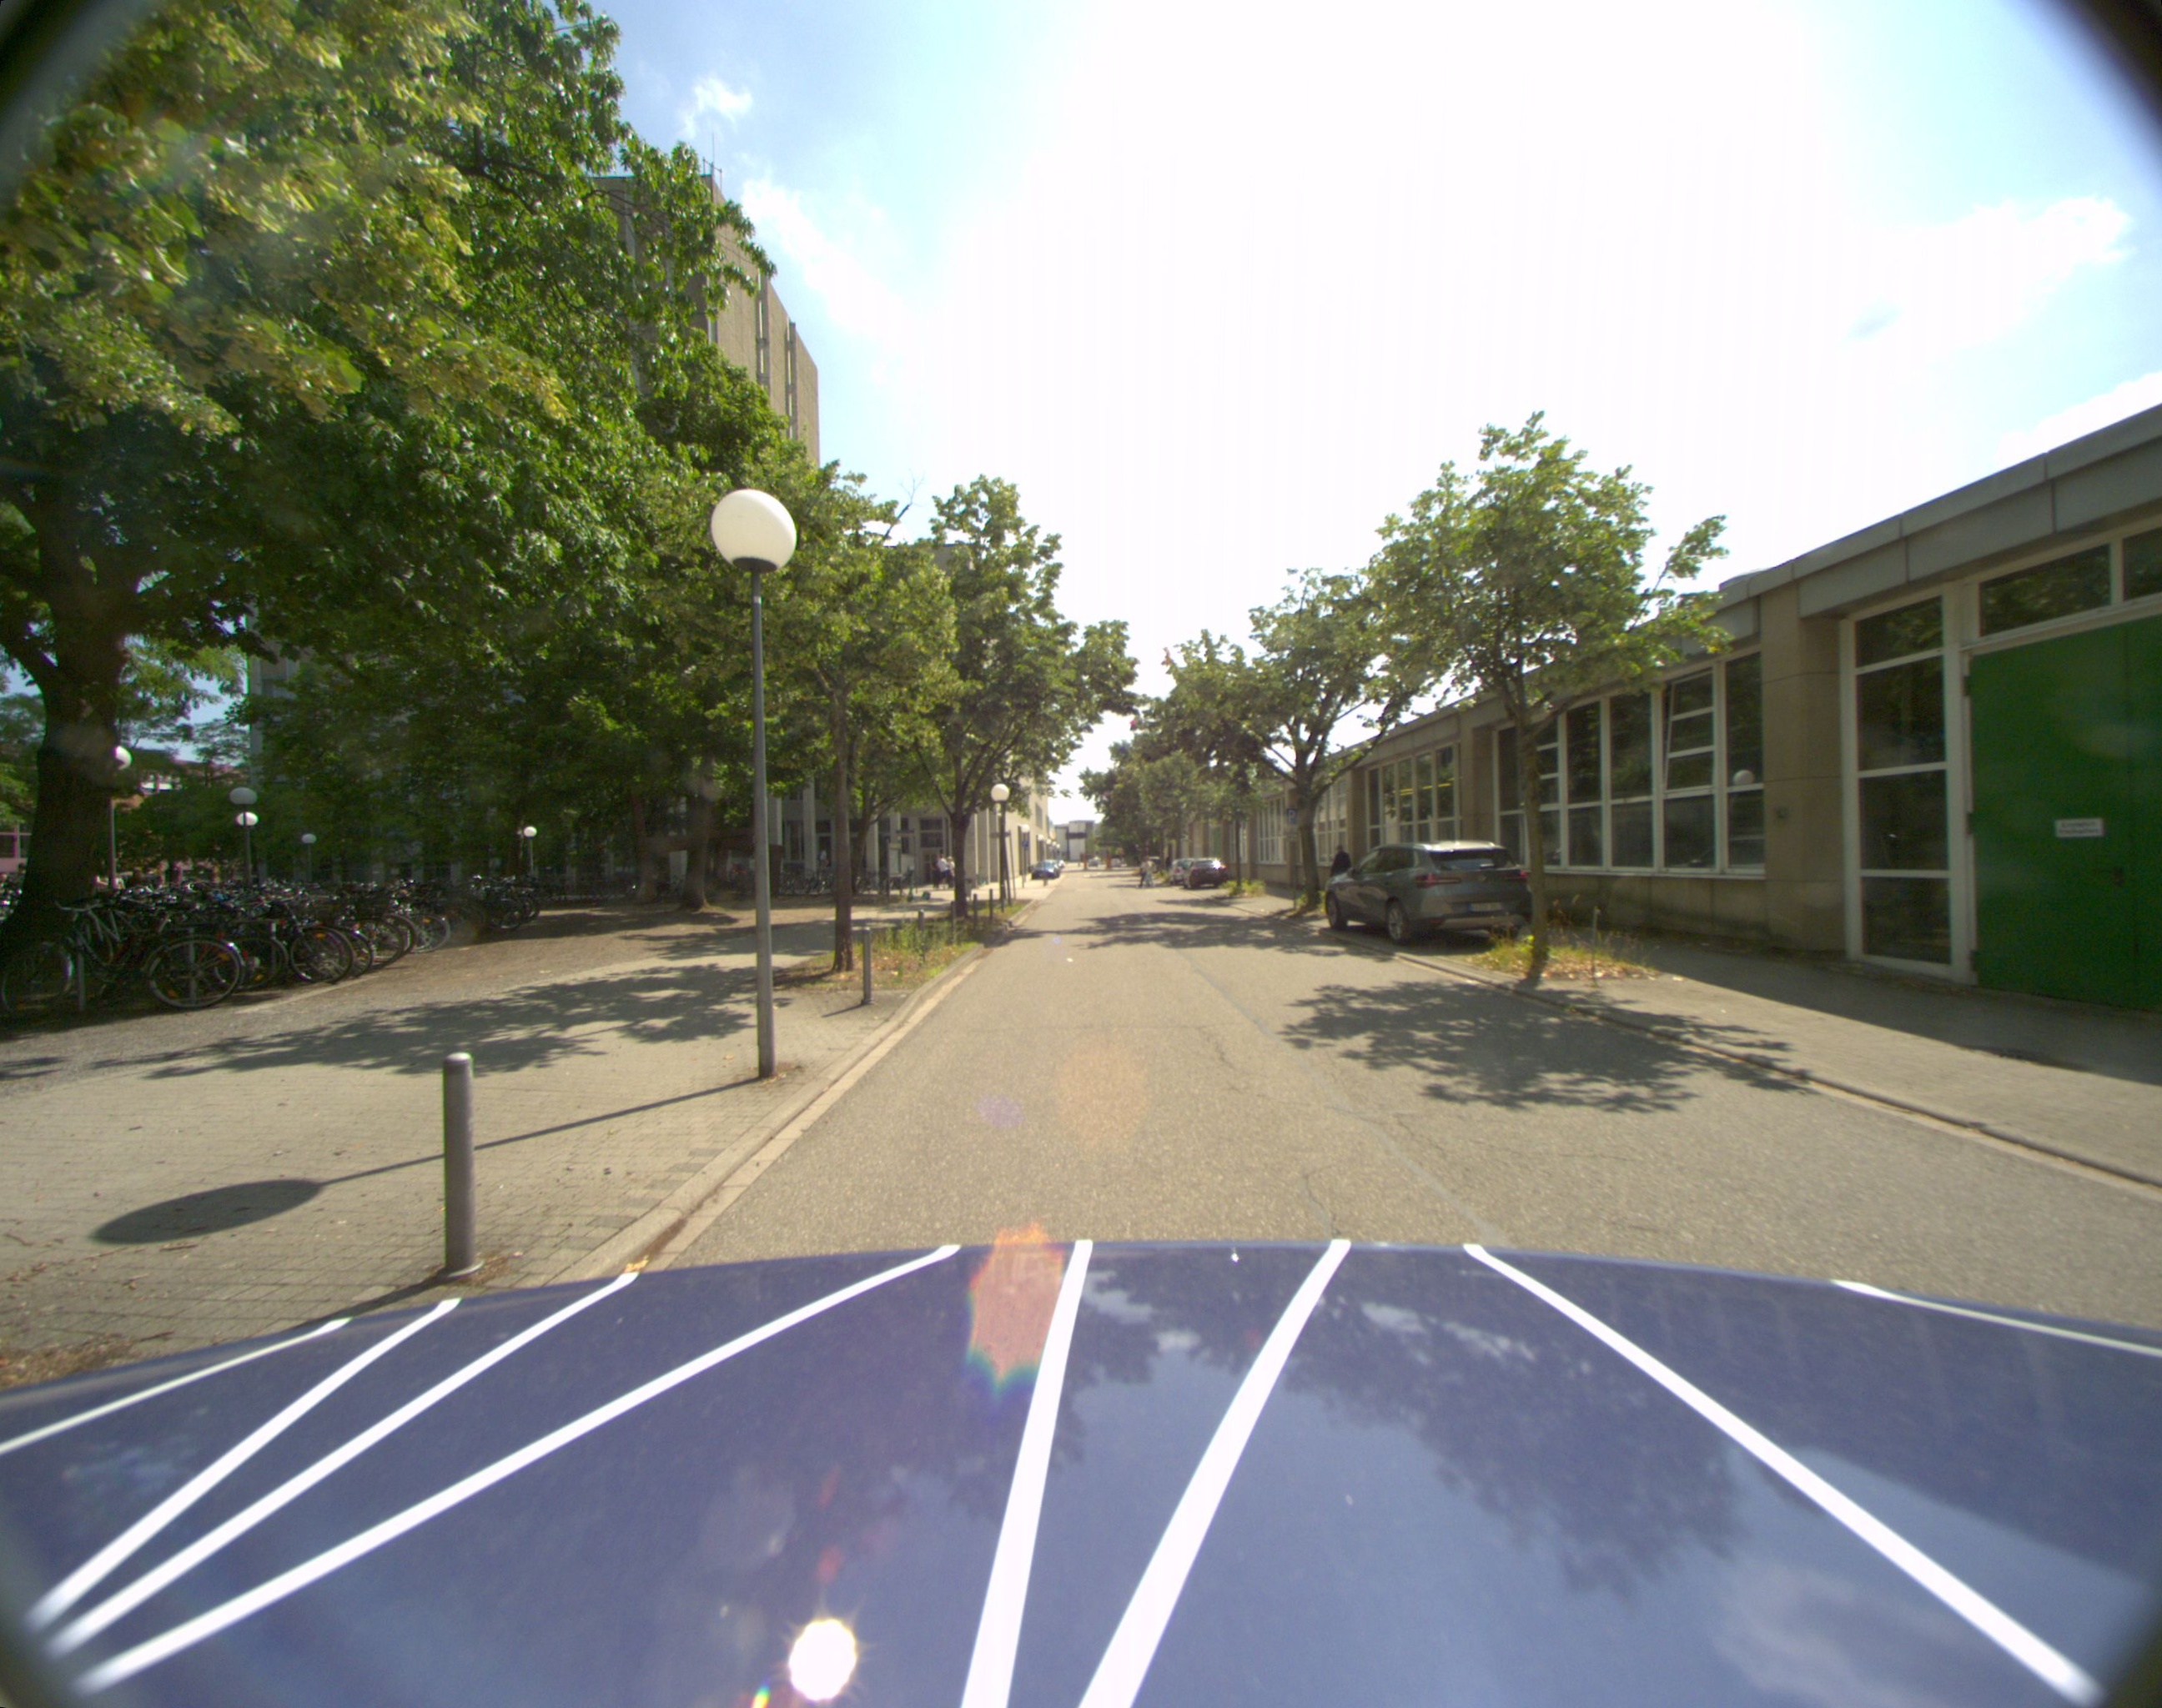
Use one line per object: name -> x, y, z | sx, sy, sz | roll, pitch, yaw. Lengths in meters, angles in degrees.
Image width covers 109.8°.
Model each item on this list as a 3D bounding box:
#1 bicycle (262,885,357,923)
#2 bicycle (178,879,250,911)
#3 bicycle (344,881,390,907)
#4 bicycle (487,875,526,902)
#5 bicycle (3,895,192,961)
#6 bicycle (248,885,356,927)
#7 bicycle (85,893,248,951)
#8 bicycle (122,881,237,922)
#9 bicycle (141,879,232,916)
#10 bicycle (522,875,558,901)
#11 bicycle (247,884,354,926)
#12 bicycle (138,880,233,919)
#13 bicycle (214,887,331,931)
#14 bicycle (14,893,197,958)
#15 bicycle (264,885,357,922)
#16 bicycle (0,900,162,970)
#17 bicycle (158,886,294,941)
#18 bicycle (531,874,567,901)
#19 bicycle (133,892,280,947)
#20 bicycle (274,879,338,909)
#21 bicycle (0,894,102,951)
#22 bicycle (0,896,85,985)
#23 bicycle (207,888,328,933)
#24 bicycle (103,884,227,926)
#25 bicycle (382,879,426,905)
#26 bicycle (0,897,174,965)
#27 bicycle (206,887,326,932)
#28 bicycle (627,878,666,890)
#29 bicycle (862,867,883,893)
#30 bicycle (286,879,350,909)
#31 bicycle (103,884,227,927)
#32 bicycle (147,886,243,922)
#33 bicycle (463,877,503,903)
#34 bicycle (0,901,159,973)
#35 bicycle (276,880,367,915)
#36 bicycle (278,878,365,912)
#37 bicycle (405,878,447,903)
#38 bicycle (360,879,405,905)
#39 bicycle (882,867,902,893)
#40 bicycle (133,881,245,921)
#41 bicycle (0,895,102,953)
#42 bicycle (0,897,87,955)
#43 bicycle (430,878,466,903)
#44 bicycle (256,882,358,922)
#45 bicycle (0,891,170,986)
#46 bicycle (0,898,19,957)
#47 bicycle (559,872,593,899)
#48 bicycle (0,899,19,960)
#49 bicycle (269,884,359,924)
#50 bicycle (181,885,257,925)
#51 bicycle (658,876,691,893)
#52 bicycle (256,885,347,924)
bicycle -> -22.418, 1.438, 22.128 | 1.908, 0.973, 0.477 | 0, 0, -43
bicycle -> -32.221, 1.521, 28.258 | 0.477, 1.077, 1.691 | -4, -1, 39
bicycle -> -32.303, 1.796, 34.415 | 0.529, 1.077, 1.688 | -3, -1, -4
bicycle -> -25.699, 1.522, 34.012 | 0.478, 1.123, 1.688 | -3, -1, -4
bicycle -> -16.743, 1.226, 13.014 | 1.908, 0.973, 0.477 | 0, 0, -41
bicycle -> -19.901, 1.311, 19.457 | 0.377, 0.973, 1.908 | 0, 0, 41
bicycle -> -17.173, 1.255, 14.333 | 1.907, 0.973, 0.477 | 0, 0, -30
bicycle -> -23.404, 1.216, 19.776 | 1.907, 0.973, 0.378 | 0, 1, -30
bicycle -> -25.090, 1.204, 21.343 | 1.600, 0.973, 0.403 | 0, 1, -39
bicycle -> -24.094, 1.501, 33.842 | 0.454, 1.123, 1.688 | -3, -1, -4
bicycle -> -20.244, 1.305, 19.746 | 0.377, 0.973, 1.908 | 0, 0, 41
bicycle -> -24.247, 1.217, 20.611 | 1.600, 0.973, 0.403 | 0, 1, -39
bicycle -> -19.515, 1.316, 18.391 | 1.907, 0.973, 0.378 | 0, 1, -30
bicycle -> -17.003, 1.219, 13.319 | 1.908, 0.973, 0.477 | 0, 0, -41
bicycle -> -22.672, 1.438, 22.408 | 1.908, 0.973, 0.477 | 0, 0, -43
bicycle -> -16.108, 1.268, 12.060 | 0.477, 0.973, 1.908 | 0, 0, 42
bicycle -> -18.508, 1.260, 16.508 | 1.907, 1.076, 0.477 | 0, 0, -36
bicycle -> -23.578, 1.460, 33.680 | 0.454, 1.123, 1.688 | -3, -1, -4
bicycle -> -17.804, 1.312, 15.531 | 1.908, 0.973, 0.477 | 0, 0, -39
bicycle -> -31.131, 1.589, 30.534 | 0.477, 1.077, 1.691 | -4, -1, 32
bicycle -> -19.701, 1.268, 14.045 | 1.907, 0.973, 0.477 | 0, 0, -38
bicycle -> -14.176, 1.136, 9.904 | 0.479, 1.076, 1.900 | 0, 0, -20
bicycle -> -19.023, 1.310, 17.810 | 1.907, 0.973, 0.378 | 0, 1, -30
bicycle -> -22.668, 1.245, 18.849 | 1.907, 0.973, 0.477 | 0, 0, -30
bicycle -> -30.130, 1.679, 33.855 | 0.478, 1.077, 1.688 | -3, -1, -4
bicycle -> -16.492, 1.242, 12.537 | 1.908, 0.973, 0.477 | 0, 0, -40
bicycle -> -19.357, 1.302, 18.098 | 1.907, 0.973, 0.378 | 0, 1, -30
bicycle -> -26.975, 1.864, 47.200 | 1.990, 0.755, 0.643 | 0, -1, -9
bicycle -> -9.378, 1.183, 34.207 | 0.561, 1.134, 1.490 | 1, -1, -2
bicycle -> -30.588, 1.605, 30.487 | 0.477, 1.077, 1.691 | -4, -1, 32
bicycle -> -22.215, 1.238, 18.471 | 1.907, 0.973, 0.378 | 0, 1, -30
bicycle -> -26.116, 1.460, 22.438 | 0.377, 0.973, 1.806 | 1, 0, 44
bicycle -> -26.886, 1.612, 34.190 | 0.478, 1.077, 1.688 | -3, -1, -4
bicycle -> -15.686, 1.260, 11.669 | 0.477, 0.973, 1.908 | 0, 0, 42
bicycle -> -23.048, 1.294, 23.101 | 1.907, 0.973, 0.477 | 0, 0, -37
bicycle -> -23.929, 1.278, 23.961 | 0.477, 0.973, 1.908 | 0, 0, 41
bicycle -> -29.174, 1.616, 33.882 | 0.478, 1.077, 1.688 | -3, -1, -4
bicycle -> -31.034, 1.679, 33.796 | 0.478, 1.077, 1.688 | -3, -1, -4
bicycle -> -8.453, 1.147, 33.948 | 0.561, 1.135, 1.489 | 1, 1, -2
bicycle -> -23.611, 1.226, 20.144 | 1.907, 0.973, 0.378 | 0, 1, -30
bicycle -> -19.259, 1.265, 13.710 | 1.908, 0.973, 0.377 | 0, 0, -39
bicycle -> -19.057, 1.278, 13.343 | 1.908, 0.973, 0.377 | 0, 0, -39
bicycle -> -28.361, 1.631, 34.079 | 0.479, 1.077, 1.687 | -3, -1, -13
bicycle -> -20.761, 1.273, 20.422 | 0.377, 0.973, 1.908 | 0, 0, 42
bicycle -> -13.444, 1.088, 10.316 | 0.479, 1.076, 1.900 | 0, 0, -20
bicycle -> -19.021, 1.255, 12.414 | 1.908, 0.973, 0.377 | 0, 0, -39
bicycle -> -22.463, 1.389, 33.815 | 0.454, 1.123, 1.688 | -3, -1, -4
bicycle -> -18.652, 1.253, 12.128 | 1.908, 0.973, 0.477 | 0, 0, -39
bicycle -> -21.656, 1.395, 21.504 | 1.746, 1.017, 0.477 | 0, 0, -40
bicycle -> -26.456, 1.553, 23.341 | 0.352, 1.077, 1.474 | -4, 0, 35
bicycle -> -22.640, 1.707, 42.352 | 0.447, 0.894, 1.779 | -2, -1, 19
bicycle -> -21.641, 1.390, 21.129 | 1.746, 1.017, 0.292 | 0, 1, -40
